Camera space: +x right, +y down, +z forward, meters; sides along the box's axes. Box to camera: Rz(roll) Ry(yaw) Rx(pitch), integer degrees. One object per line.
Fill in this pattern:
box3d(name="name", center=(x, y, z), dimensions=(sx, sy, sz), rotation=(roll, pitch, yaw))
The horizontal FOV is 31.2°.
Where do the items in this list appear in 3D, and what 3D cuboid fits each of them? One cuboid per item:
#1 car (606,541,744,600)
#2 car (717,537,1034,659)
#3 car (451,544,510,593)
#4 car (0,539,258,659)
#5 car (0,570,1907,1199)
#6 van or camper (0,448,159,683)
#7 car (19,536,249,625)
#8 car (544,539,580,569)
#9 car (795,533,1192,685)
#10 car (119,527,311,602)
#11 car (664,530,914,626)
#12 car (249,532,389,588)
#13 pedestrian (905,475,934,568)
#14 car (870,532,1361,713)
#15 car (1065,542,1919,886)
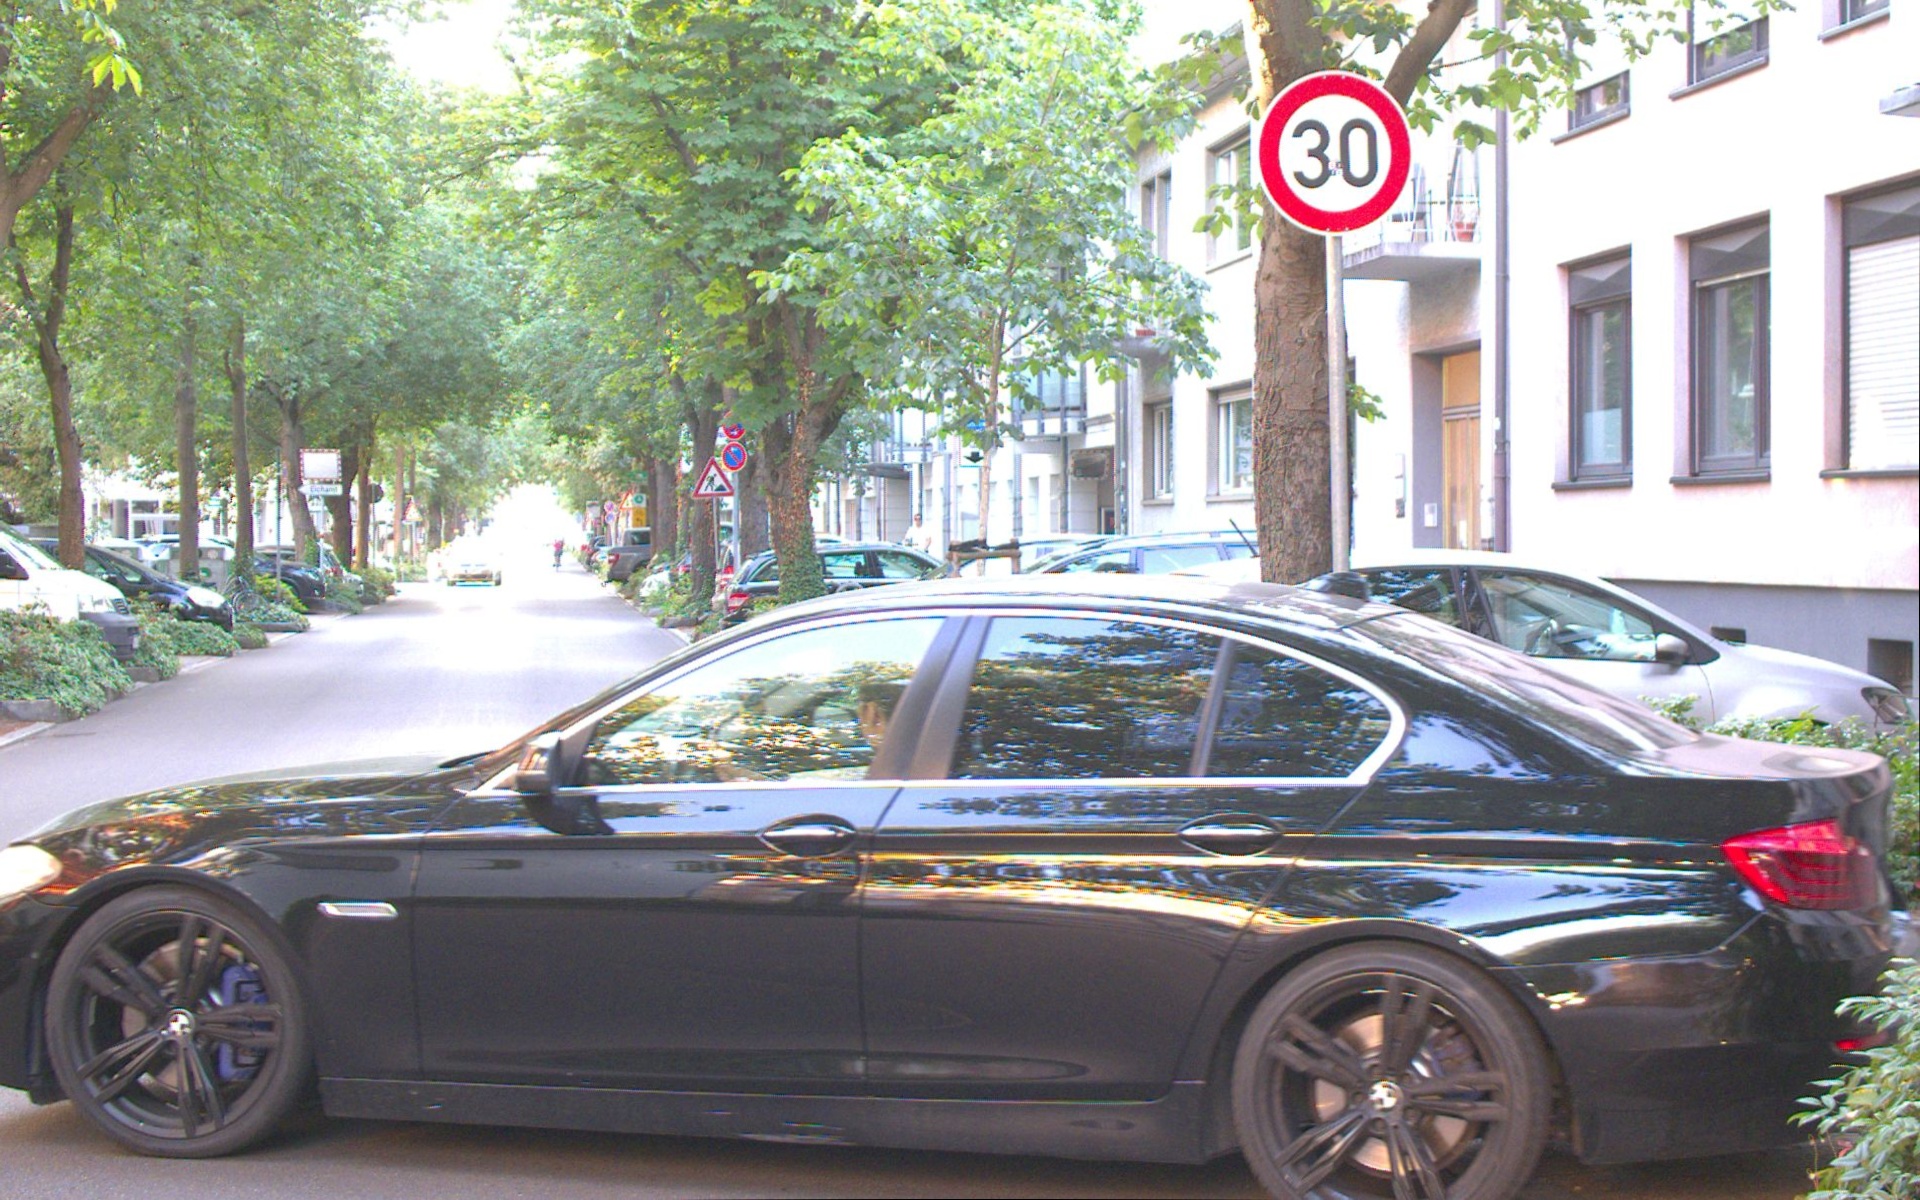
box3d(name="car", center=(-8.357, -0.872, 100.779), dimensions=(3.967, 1.678, 1.785), rotation=(0, 1, -5))
box3d(name="car", center=(-1.135, -0.044, 44.964), dimensions=(3.967, 1.522, 1.785), rotation=(-1, 1, -7))
box3d(name="car", center=(-15.830, -1.063, 113.621), dimensions=(1.779, 1.557, 4.169), rotation=(0, 1, -6))
box3d(name="car", center=(-11.929, -0.031, 48.046), dimensions=(3.967, 1.614, 1.785), rotation=(0, 1, -6))
box3d(name="car", center=(-0.141, 0.677, 8.518), dimensions=(4.749, 1.475, 1.799), rotation=(0, 1, 17))
box3d(name="van or camper", center=(-11.131, -0.377, 37.048), dimensions=(4.662, 2.470, 2.000), rotation=(0, 1, -7))
box3d(name="car", center=(-15.468, -0.372, 64.512), dimensions=(3.967, 1.614, 1.785), rotation=(0, 1, -5))
box3d(name="car", center=(-20.918, -2.441, 180.749), dimensions=(1.822, 1.525, 4.001), rotation=(-1, 1, -6))
box3d(name="car", center=(0.317, 0.066, 36.153), dimensions=(3.967, 1.522, 1.785), rotation=(-1, 1, -7))
box3d(name="car", center=(-16.468, -0.805, 76.156), dimensions=(3.967, 1.614, 1.785), rotation=(0, 1, -5))
box3d(name="car", center=(-2.851, -0.374, 56.827), dimensions=(3.967, 1.522, 1.785), rotation=(-1, 1, -8))
box3d(name="car", center=(-19.112, -1.202, 102.629), dimensions=(3.967, 1.614, 1.785), rotation=(0, 1, -5))
box3d(name="pedestrian", center=(-0.880, -1.693, 74.413), dimensions=(0.589, 2.007, 0.669), rotation=(0, 1, -5))
box3d(name="car", center=(1.301, 0.164, 29.690), dimensions=(3.967, 1.471, 1.785), rotation=(-1, 1, -8))
box3d(name="car", center=(2.564, 0.477, 16.080), dimensions=(3.908, 1.471, 1.665), rotation=(-1, 1, -8))
